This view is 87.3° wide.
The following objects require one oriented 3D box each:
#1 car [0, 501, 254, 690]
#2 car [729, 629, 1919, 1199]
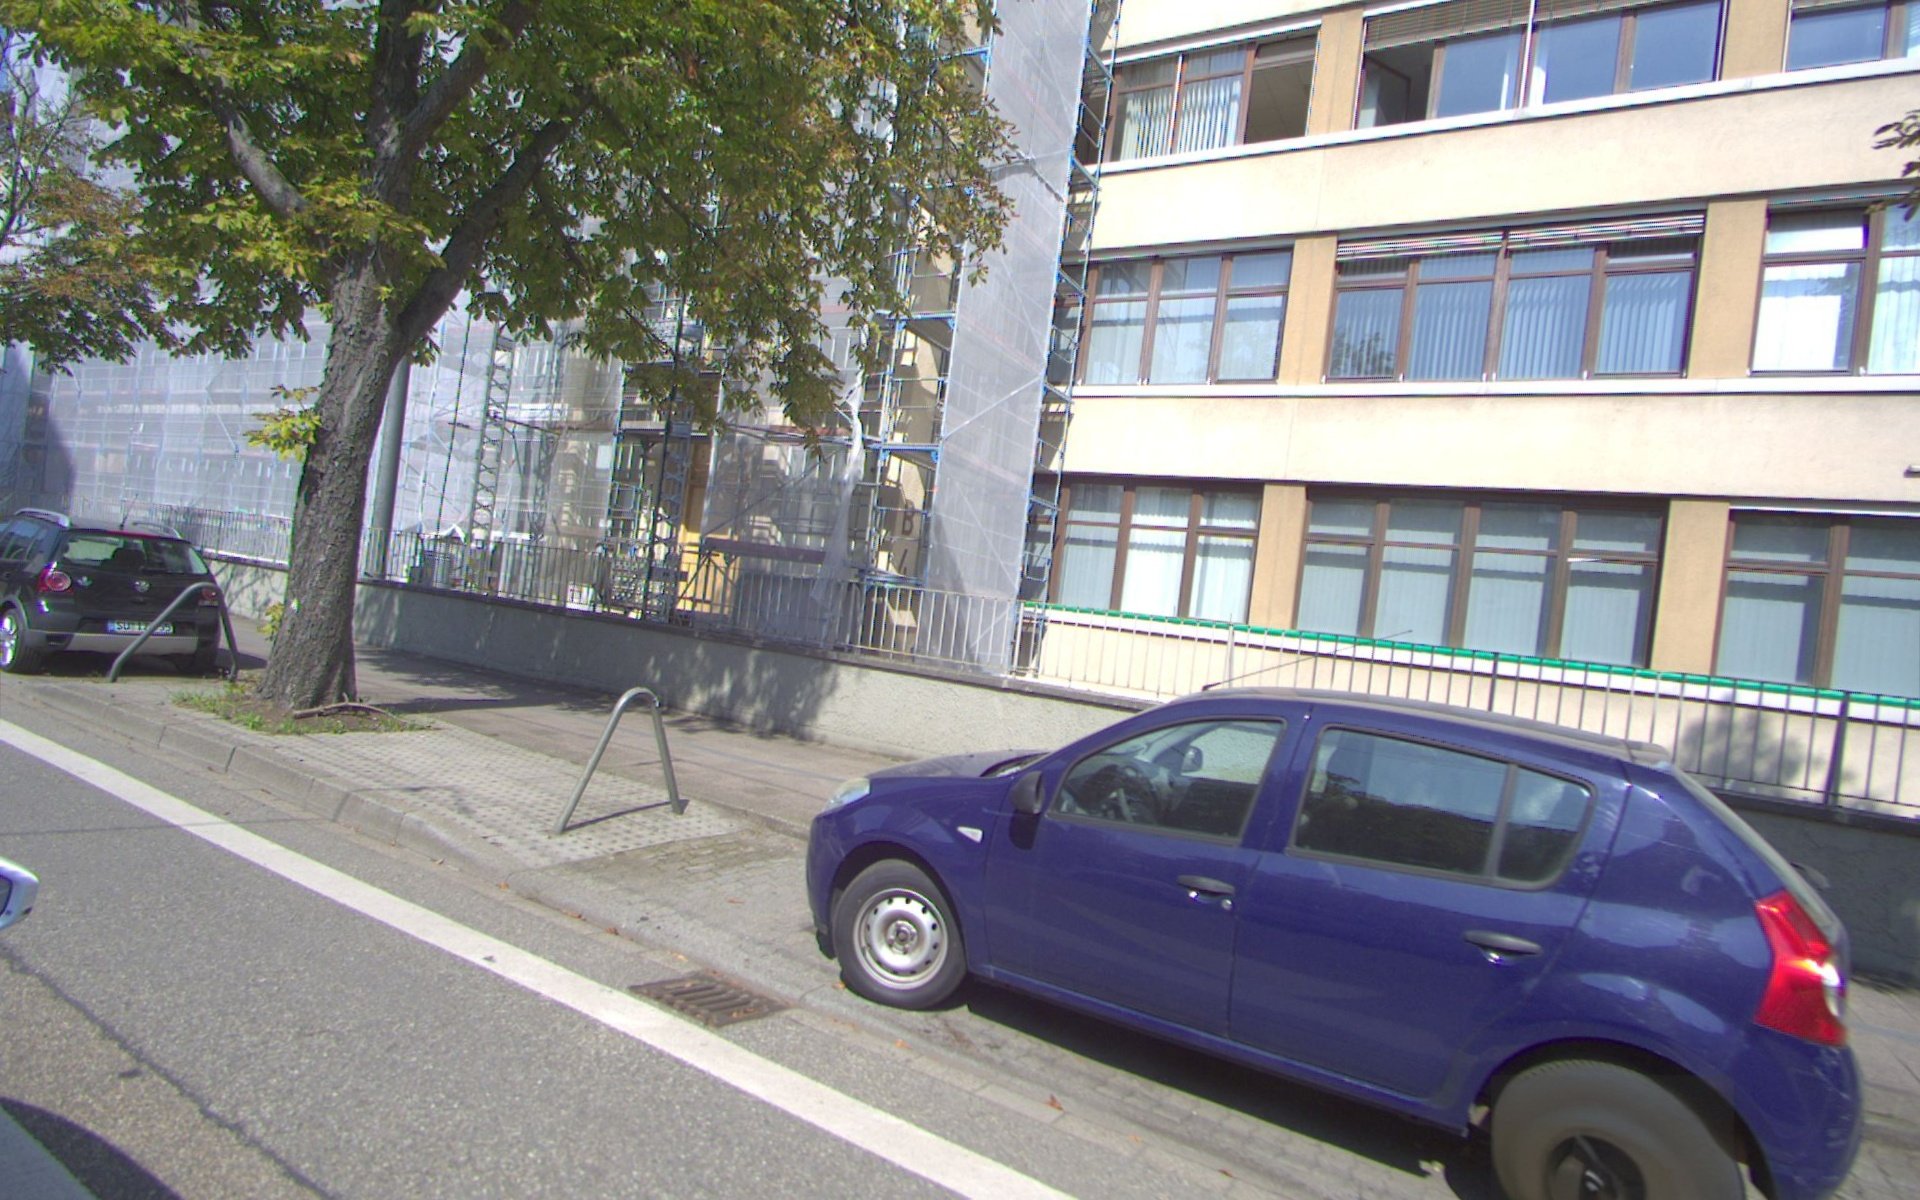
[{"bbox_3d":[-9.606,-0.148,10.766,4.117,1.603,1.637,7,-2,30],"label":"car"},{"bbox_3d":[1.287,1.174,4.021,4.147,1.574,1.746,6,-1,31],"label":"car"}]
